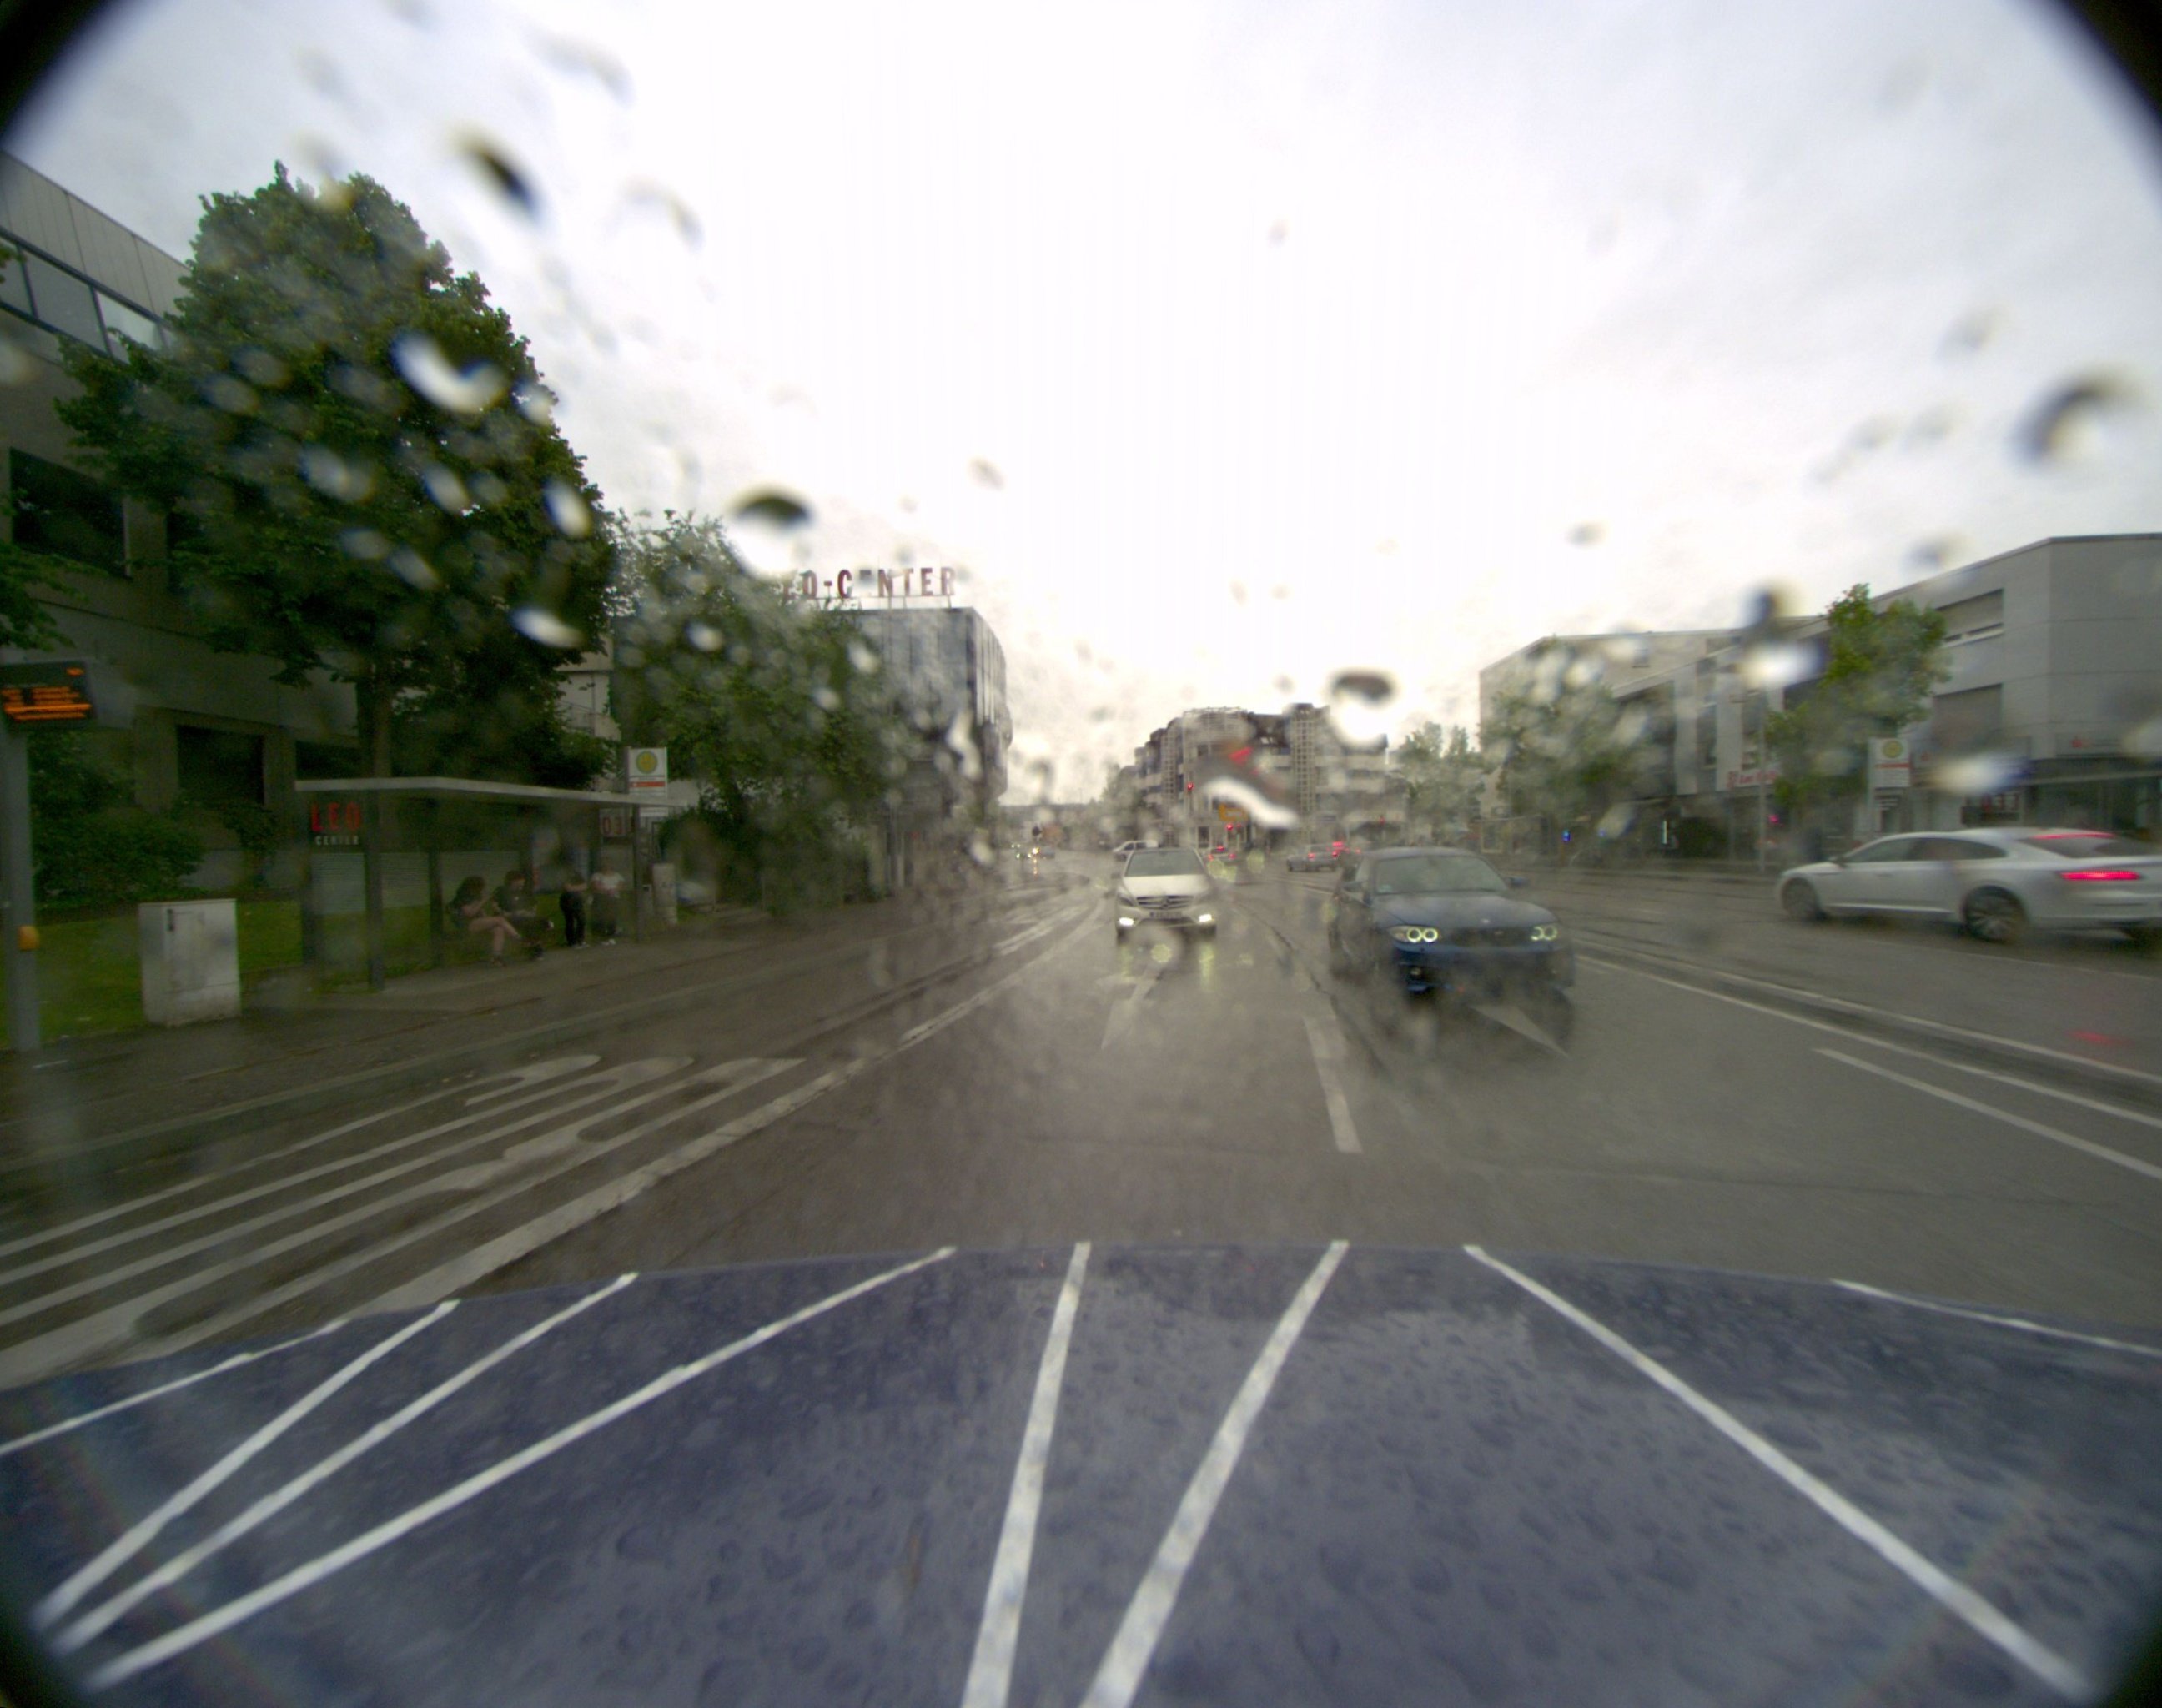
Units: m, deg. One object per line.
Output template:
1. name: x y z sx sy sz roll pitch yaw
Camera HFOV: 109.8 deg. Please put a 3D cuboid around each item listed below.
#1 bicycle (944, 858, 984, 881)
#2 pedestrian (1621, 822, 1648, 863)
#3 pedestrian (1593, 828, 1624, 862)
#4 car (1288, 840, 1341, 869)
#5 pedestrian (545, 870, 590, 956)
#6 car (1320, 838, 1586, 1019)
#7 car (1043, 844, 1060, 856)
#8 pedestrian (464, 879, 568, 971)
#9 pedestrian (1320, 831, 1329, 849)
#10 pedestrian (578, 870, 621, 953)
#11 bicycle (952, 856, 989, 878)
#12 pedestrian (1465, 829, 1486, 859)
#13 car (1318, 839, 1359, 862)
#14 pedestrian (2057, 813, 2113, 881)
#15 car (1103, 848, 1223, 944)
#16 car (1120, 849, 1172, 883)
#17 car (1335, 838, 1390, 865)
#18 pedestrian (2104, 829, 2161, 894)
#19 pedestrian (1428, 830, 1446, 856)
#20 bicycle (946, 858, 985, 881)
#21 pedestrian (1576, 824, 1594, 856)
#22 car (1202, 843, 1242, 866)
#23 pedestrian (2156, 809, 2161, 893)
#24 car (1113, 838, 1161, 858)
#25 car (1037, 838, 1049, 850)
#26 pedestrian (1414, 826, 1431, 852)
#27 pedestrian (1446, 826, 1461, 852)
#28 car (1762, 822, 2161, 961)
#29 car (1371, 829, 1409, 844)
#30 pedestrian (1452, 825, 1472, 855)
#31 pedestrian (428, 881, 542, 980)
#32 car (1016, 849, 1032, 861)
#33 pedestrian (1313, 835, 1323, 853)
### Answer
1. bicycle: -5.720 0.750 37.256 1.814 1.104 0.694 0 1 3
2. pedestrian: 27.711 -0.588 38.049 0.760 2.002 0.864 -1 1 7
3. pedestrian: 26.260 -0.444 37.860 1.009 1.636 0.727 -2 1 5
4. car: 12.417 0.002 40.699 1.704 1.458 4.103 0 1 2
5. pedestrian: -8.428 0.949 12.472 0.544 1.357 0.410 0 2 -43
6. car: 3.801 0.642 8.497 1.674 1.534 3.916 -2 0 11
7. car: -3.831 -0.512 98.115 1.901 1.517 3.998 -2 1 -5
8. pedestrian: -8.357 1.025 11.263 1.032 1.274 0.692 1 1 3
9. pedestrian: 24.692 -1.432 77.043 0.682 1.733 0.586 -1 2 31
10. pedestrian: -8.182 0.957 12.912 0.544 1.357 0.410 0 2 -42
11. bicycle: -5.876 0.687 40.310 1.834 1.104 0.694 0 2 3
12. pedestrian: 26.993 -0.673 51.972 0.905 2.002 0.978 -1 1 5
13. car: 16.777 -0.261 49.742 1.760 1.419 4.890 -2 1 9
14. pedestrian: 22.687 -0.150 17.172 0.537 1.496 0.614 -2 1 -18
15. car: 1.741 0.688 14.665 1.760 1.540 4.330 -2 0 13
16. car: 3.140 0.525 35.983 1.630 1.481 3.844 -1 1 17
17. car: 15.867 -0.133 43.063 1.761 1.418 4.001 -2 0 3
18. pedestrian: 22.314 0.153 16.084 0.536 1.345 0.579 -1 1 11
19. pedestrian: 27.062 -0.851 57.804 0.905 1.904 0.978 -1 1 5
20. bicycle: -5.707 0.750 37.468 1.805 1.079 0.685 0 2 3
21. pedestrian: 28.015 -0.754 42.236 0.549 1.740 0.681 -1 1 7
22. car: 9.270 0.041 50.099 1.762 1.443 3.999 -2 0 -1
23. pedestrian: 21.545 -0.059 14.781 0.479 1.650 0.537 -1 1 6
24. car: 5.778 -0.619 78.999 4.598 2.002 1.998 -2 1 -10
25. car: -5.482 -1.446 110.616 1.583 1.630 3.638 -2 1 -4
26. pedestrian: 25.992 -1.148 57.853 0.905 1.904 0.978 -1 1 8
27. pedestrian: 29.449 -1.164 60.085 0.760 2.002 0.864 -1 1 4
28. car: 12.213 0.355 10.450 1.845 1.452 4.811 -2 1 8
29. car: 37.125 -2.135 91.295 3.897 1.710 1.745 -2 1 -13
30. pedestrian: 25.993 -0.973 51.838 0.905 2.002 0.978 -1 1 5
31. pedestrian: -8.223 1.031 10.509 1.032 1.274 0.692 1 1 3
32. car: -7.468 0.124 99.174 1.901 1.517 3.998 -2 1 -5
33. pedestrian: 23.607 -0.978 75.740 0.838 1.733 0.585 -2 2 11
